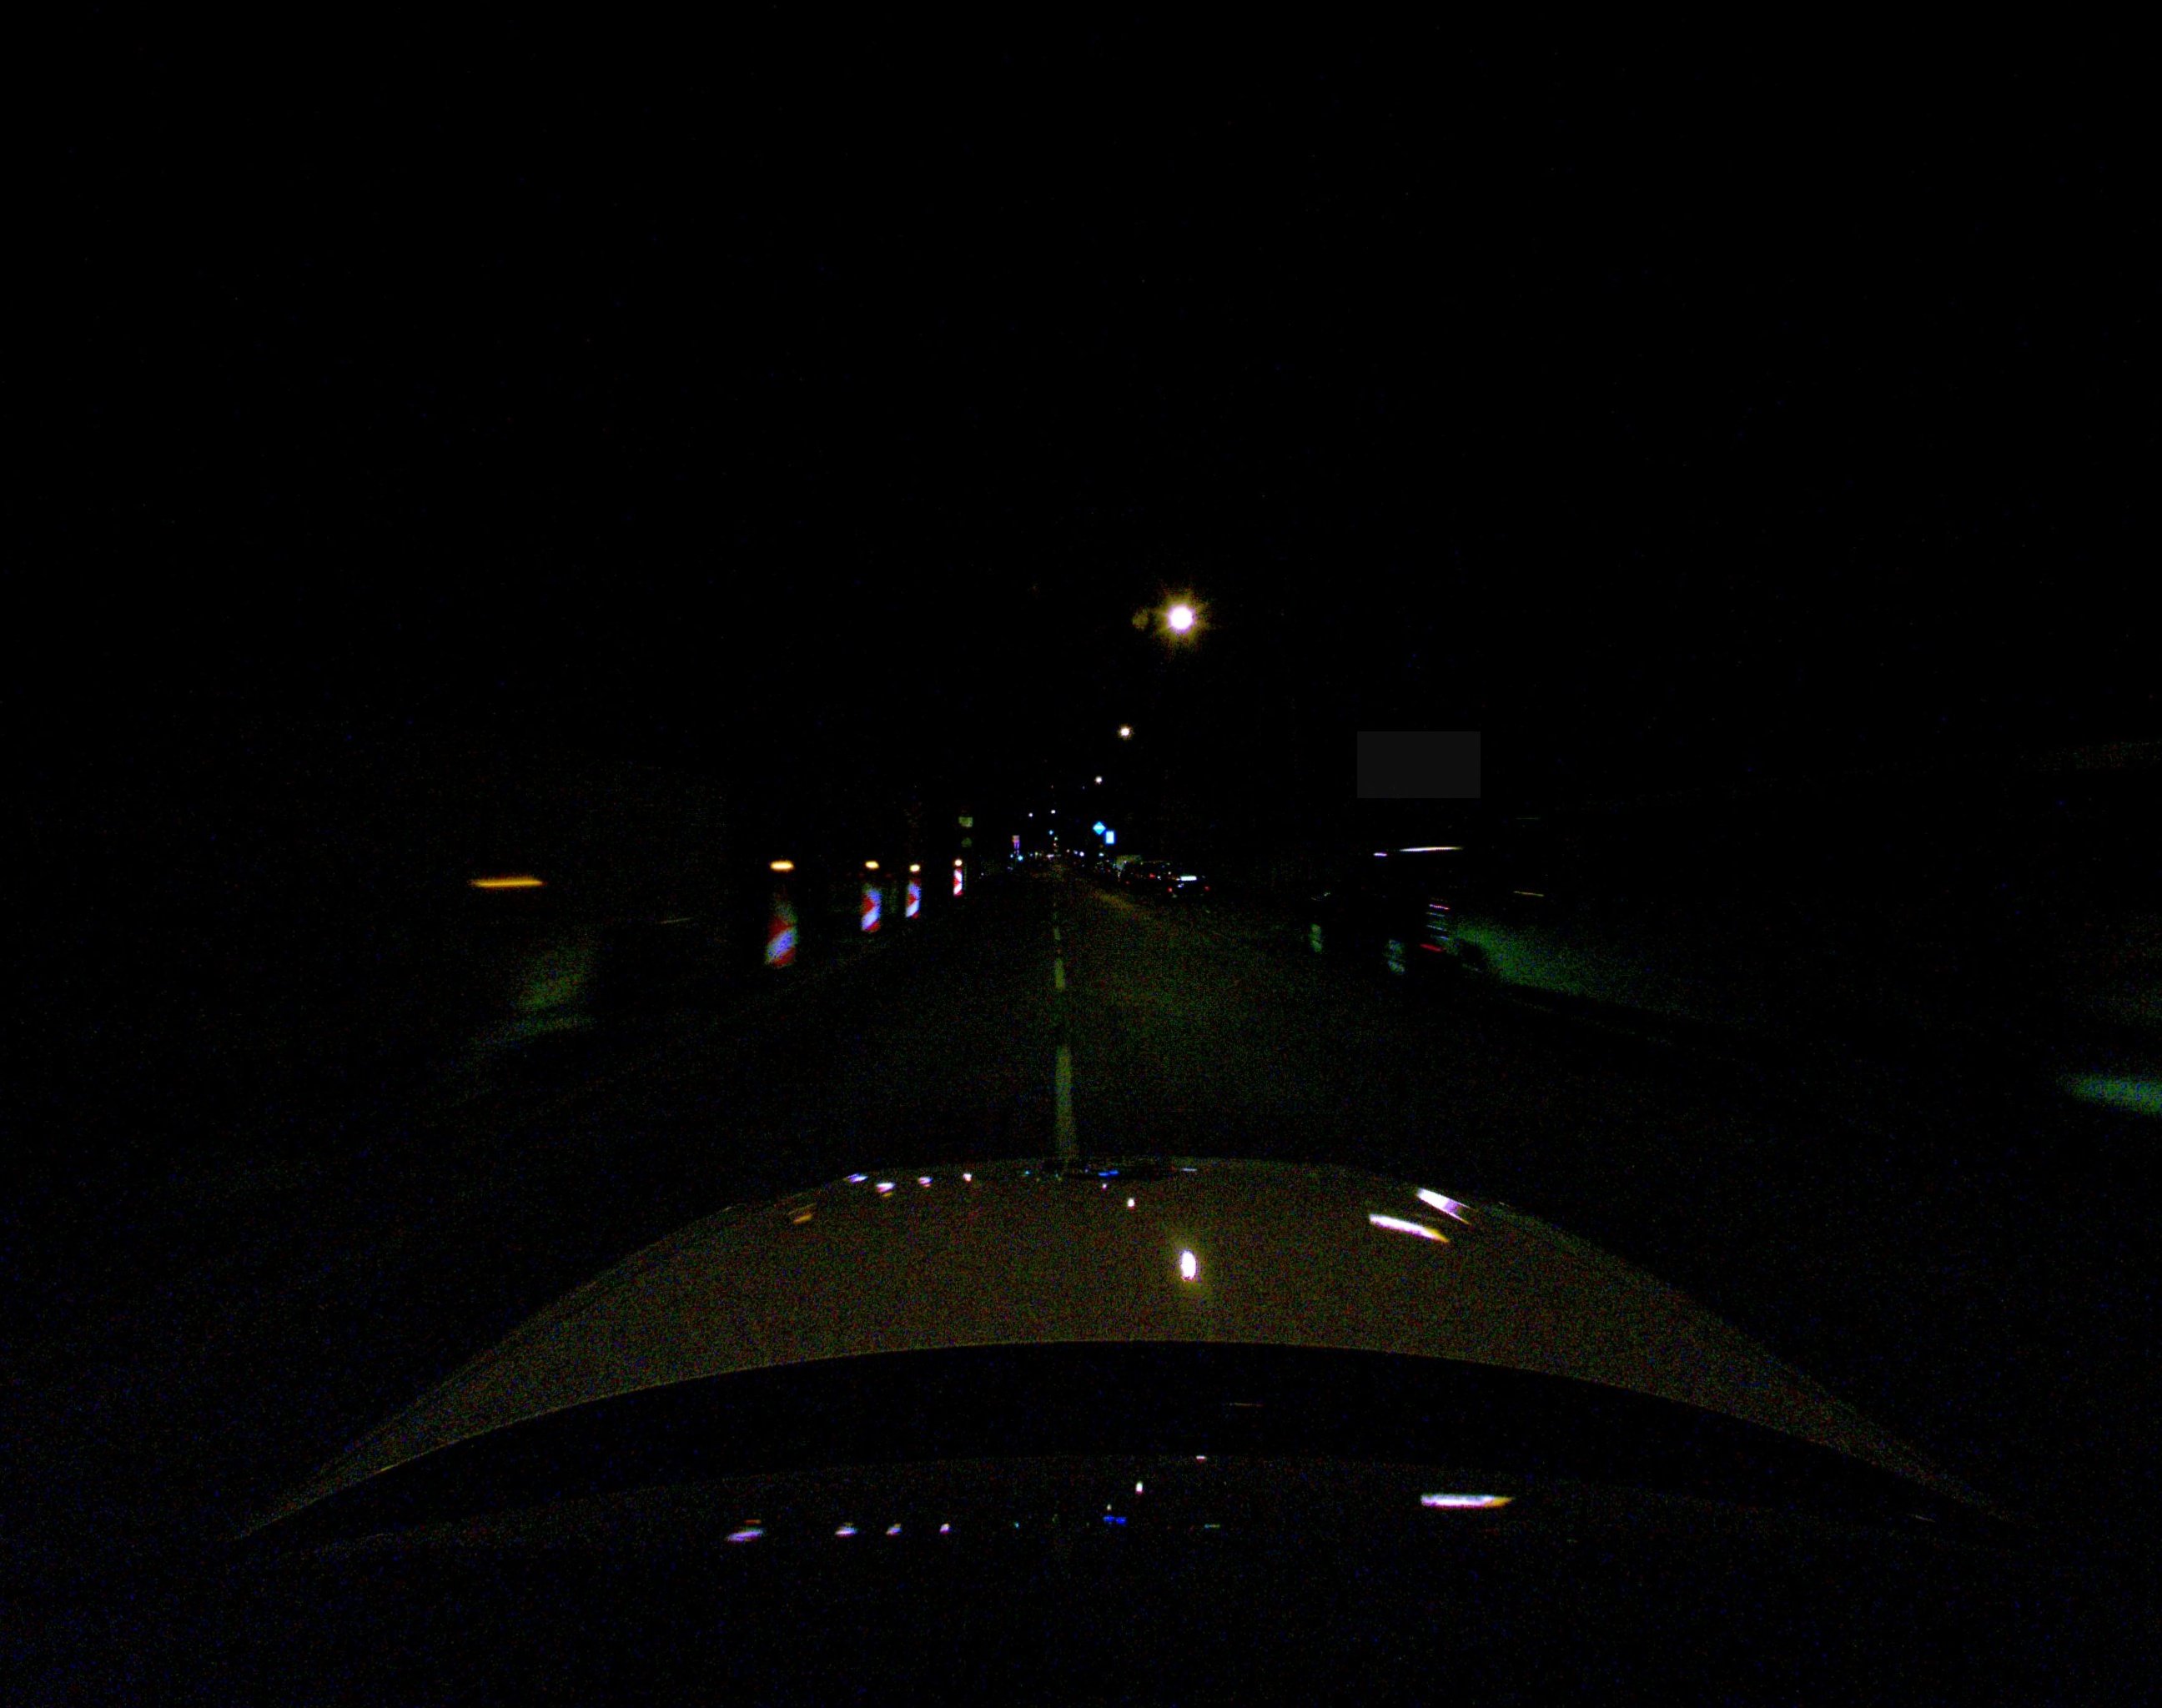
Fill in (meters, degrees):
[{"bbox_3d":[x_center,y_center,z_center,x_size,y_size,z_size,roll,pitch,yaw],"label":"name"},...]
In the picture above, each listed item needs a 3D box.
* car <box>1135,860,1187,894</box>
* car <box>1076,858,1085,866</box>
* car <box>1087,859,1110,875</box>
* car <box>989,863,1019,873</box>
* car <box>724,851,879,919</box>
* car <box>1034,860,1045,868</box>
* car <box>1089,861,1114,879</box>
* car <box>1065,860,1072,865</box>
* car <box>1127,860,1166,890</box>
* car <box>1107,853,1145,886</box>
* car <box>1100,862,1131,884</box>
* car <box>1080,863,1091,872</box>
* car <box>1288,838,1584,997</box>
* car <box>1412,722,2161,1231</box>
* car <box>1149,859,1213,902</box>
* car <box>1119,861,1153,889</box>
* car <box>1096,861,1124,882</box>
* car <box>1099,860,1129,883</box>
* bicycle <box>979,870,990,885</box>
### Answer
[{"bbox_3d":[3.587,1.022,37.070,1.775,1.427,3.887,-1,-1,-3],"label":"car"},{"bbox_3d":[-0.111,1.718,170.973,1.987,1.520,3.998,-1,-1,-1],"label":"car"},{"bbox_3d":[1.659,1.285,79.179,1.856,1.489,4.539,-1,-1,-4],"label":"car"},{"bbox_3d":[-11.507,2.133,122.206,4.428,1.450,1.998,-1,-1,-3],"label":"car"},{"bbox_3d":[-8.399,0.929,24.631,3.962,1.889,1.914,-2,-1,10],"label":"car"},{"bbox_3d":[-8.423,2.105,165.408,1.988,1.502,3.997,-1,-1,-2],"label":"car"},{"bbox_3d":[1.833,1.457,73.233,1.771,1.544,4.539,-1,-1,-4],"label":"car"},{"bbox_3d":[-3.660,2.487,243.145,1.987,1.520,3.998,-1,-1,-1],"label":"car"},{"bbox_3d":[3.348,1.078,42.176,1.590,1.467,3.716,-1,-1,-1],"label":"car"},{"bbox_3d":[2.860,0.968,52.510,1.797,1.875,4.766,-3,0,-4],"label":"car"},{"bbox_3d":[2.386,1.305,57.337,1.812,1.427,4.184,-3,0,-3],"label":"car"},{"bbox_3d":[0.779,2.494,147.397,1.987,1.516,3.999,-1,0,-1],"label":"car"},{"bbox_3d":[4.421,0.719,10.978,1.816,1.599,4.214,-4,-1,-4],"label":"car"},{"bbox_3d":[4.645,0.466,5.869,2.067,1.928,5.365,-3,-1,-2],"label":"car"},{"bbox_3d":[3.652,0.950,30.471,1.774,1.427,4.478,-1,-1,-1],"label":"car"},{"bbox_3d":[3.125,1.195,46.822,1.590,1.467,3.889,-1,-1,-1],"label":"car"},{"bbox_3d":[2.383,1.402,67.499,1.820,1.623,4.451,-3,0,-4],"label":"car"},{"bbox_3d":[2.500,1.276,62.425,1.819,1.588,4.623,-3,0,-3],"label":"car"},{"bbox_3d":[-7.024,1.721,59.443,0.617,1.052,1.720,-1,-1,-1],"label":"bicycle"}]
